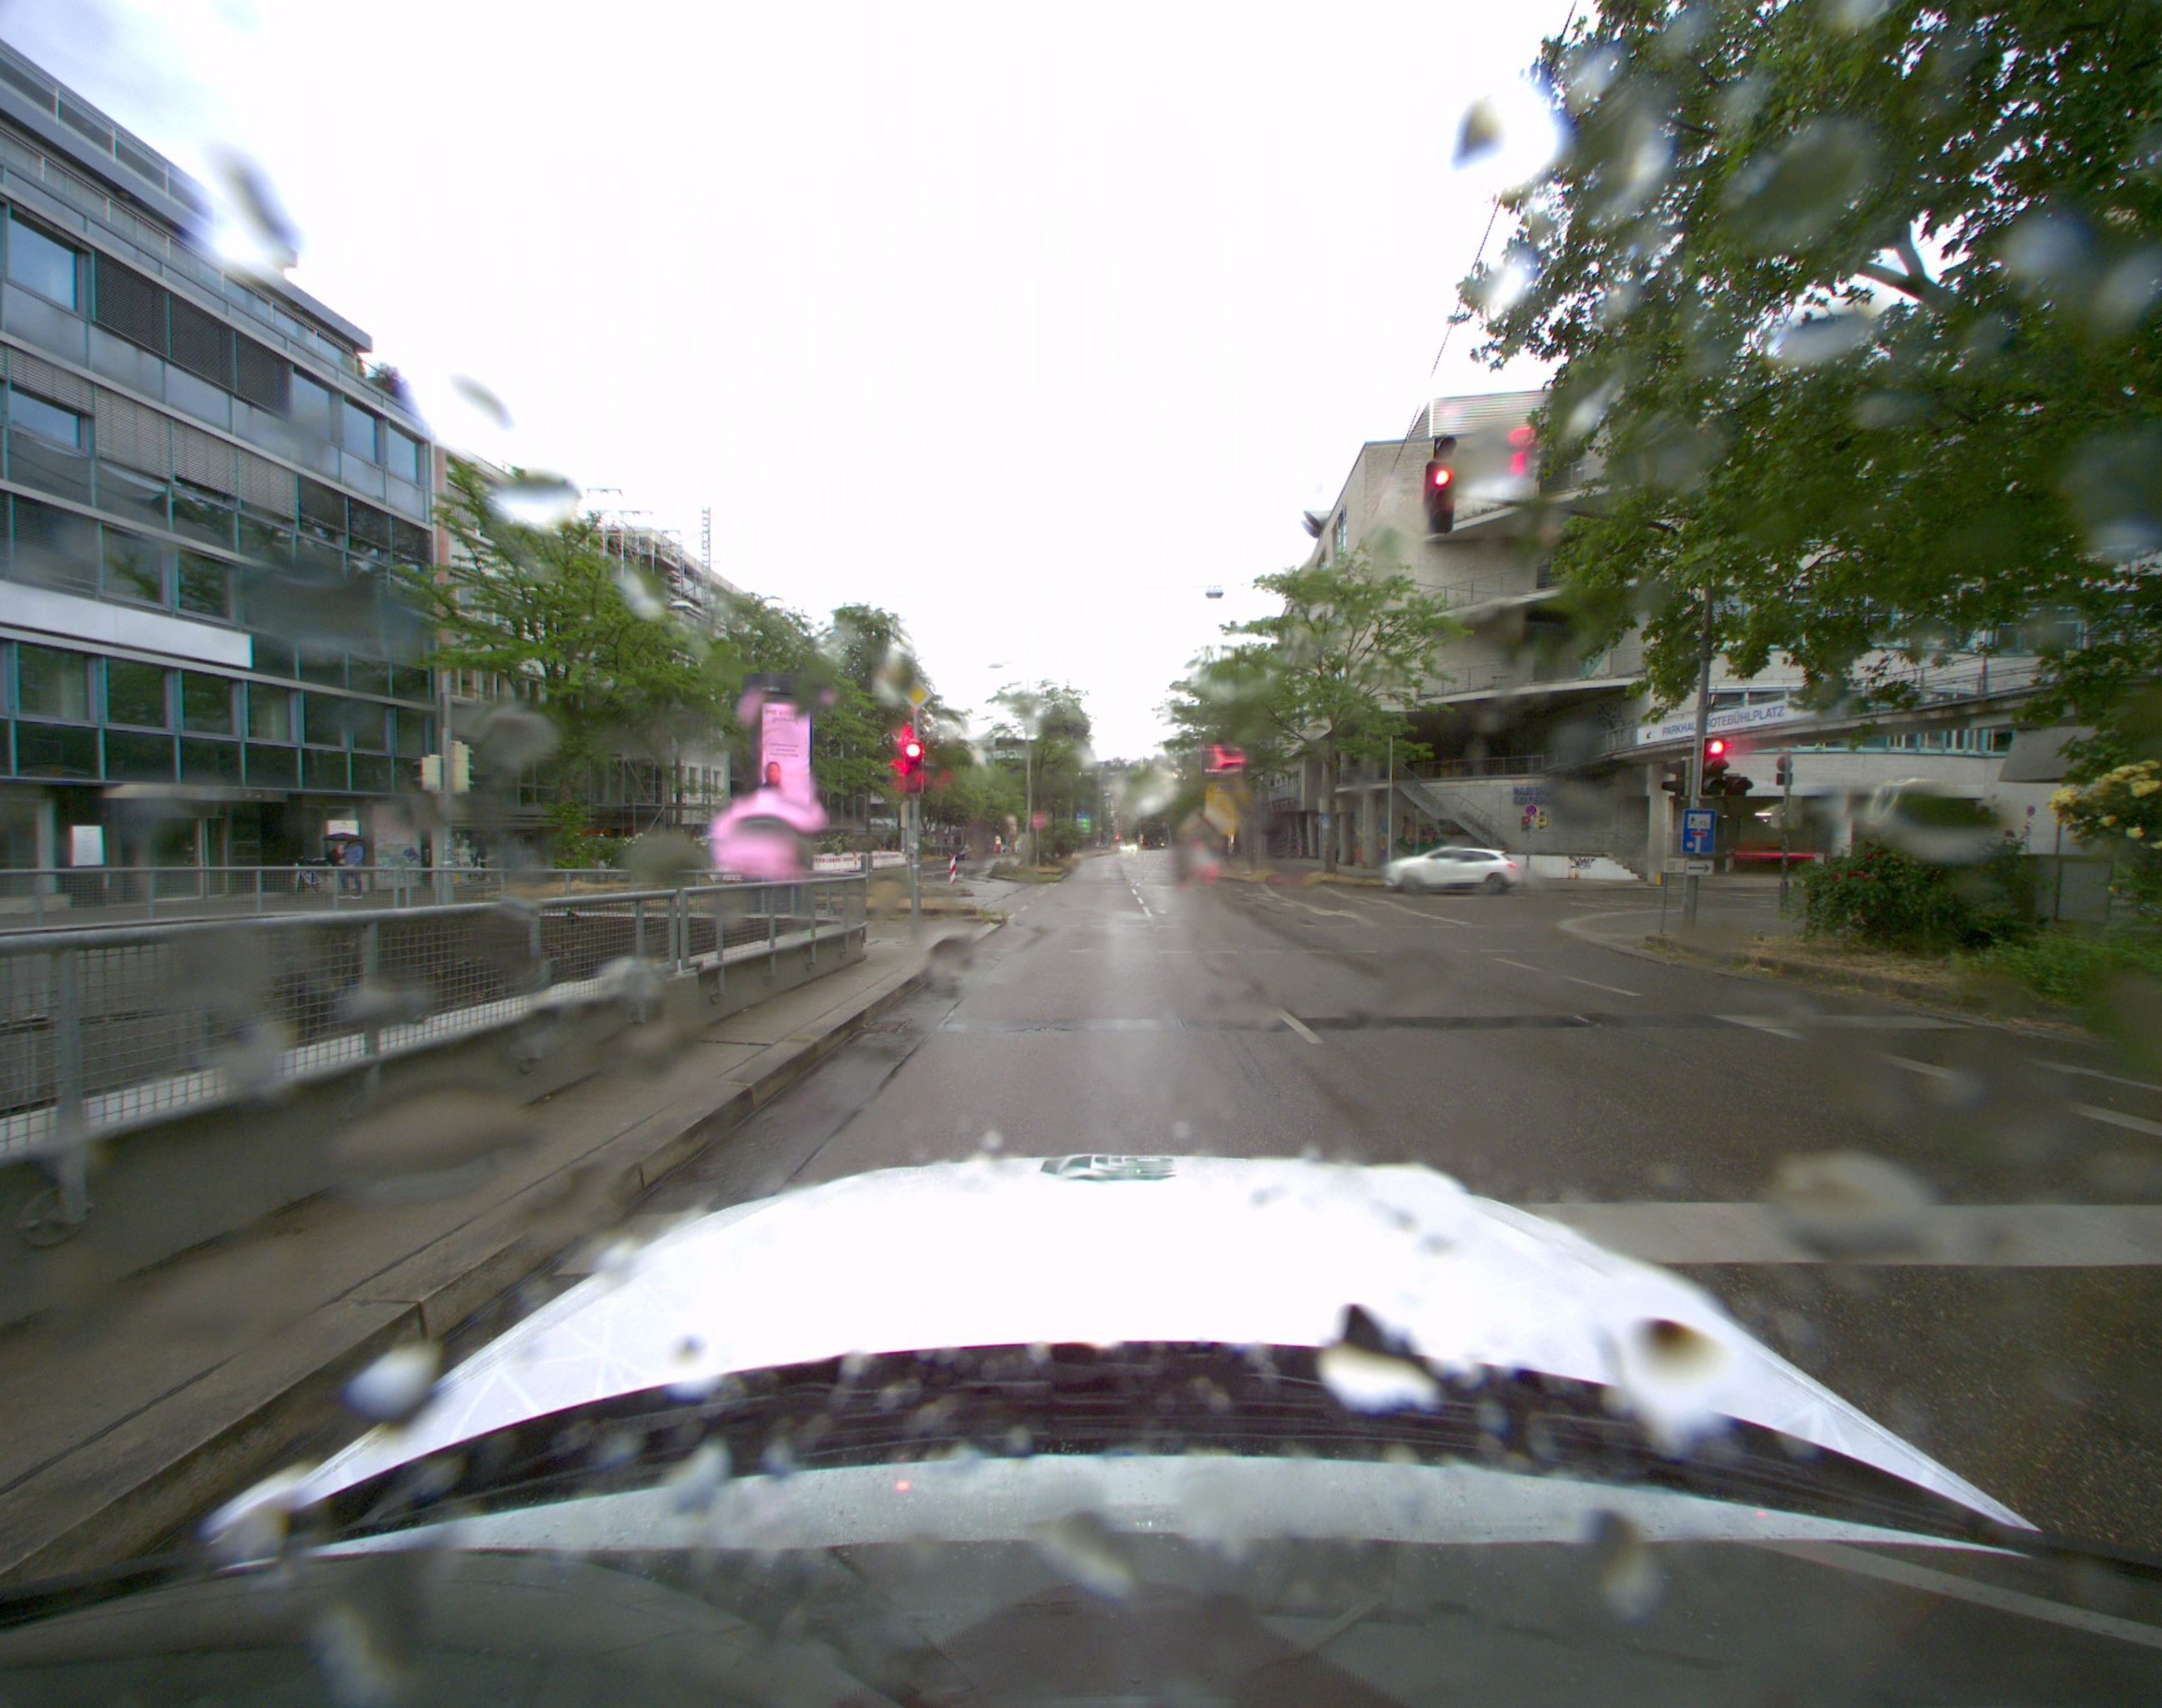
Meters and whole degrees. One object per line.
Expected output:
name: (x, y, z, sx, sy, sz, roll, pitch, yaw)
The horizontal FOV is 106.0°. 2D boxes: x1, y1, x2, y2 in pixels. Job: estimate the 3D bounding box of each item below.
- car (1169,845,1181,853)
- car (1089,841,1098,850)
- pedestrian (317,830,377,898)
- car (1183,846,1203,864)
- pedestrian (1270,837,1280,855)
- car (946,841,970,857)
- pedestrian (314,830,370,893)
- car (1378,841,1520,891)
car: (16.634, -0.875, 143.875, 1.739, 1.519, 4.108, 1, 0, 2)
car: (3.343, -2.319, 224.172, 2.118, 2.164, 5.204, 1, 0, 5)
pedestrian: (-20.861, 0.276, 23.170, 0.874, 1.868, 0.866, 1, 0, -1)
car: (11.441, 0.098, 83.442, 1.892, 1.684, 3.917, 1, 0, 6)
pedestrian: (17.225, -0.674, 72.188, 0.782, 1.557, 0.534, 1, 0, 6)
car: (-12.591, -0.549, 83.787, 1.774, 1.555, 3.895, 1, 2, 1)
pedestrian: (-22.710, 0.215, 25.033, 0.857, 1.868, 0.964, 1, 0, 20)
car: (12.869, 0.435, 28.717, 4.312, 1.684, 1.758, -1, 0, 14)
